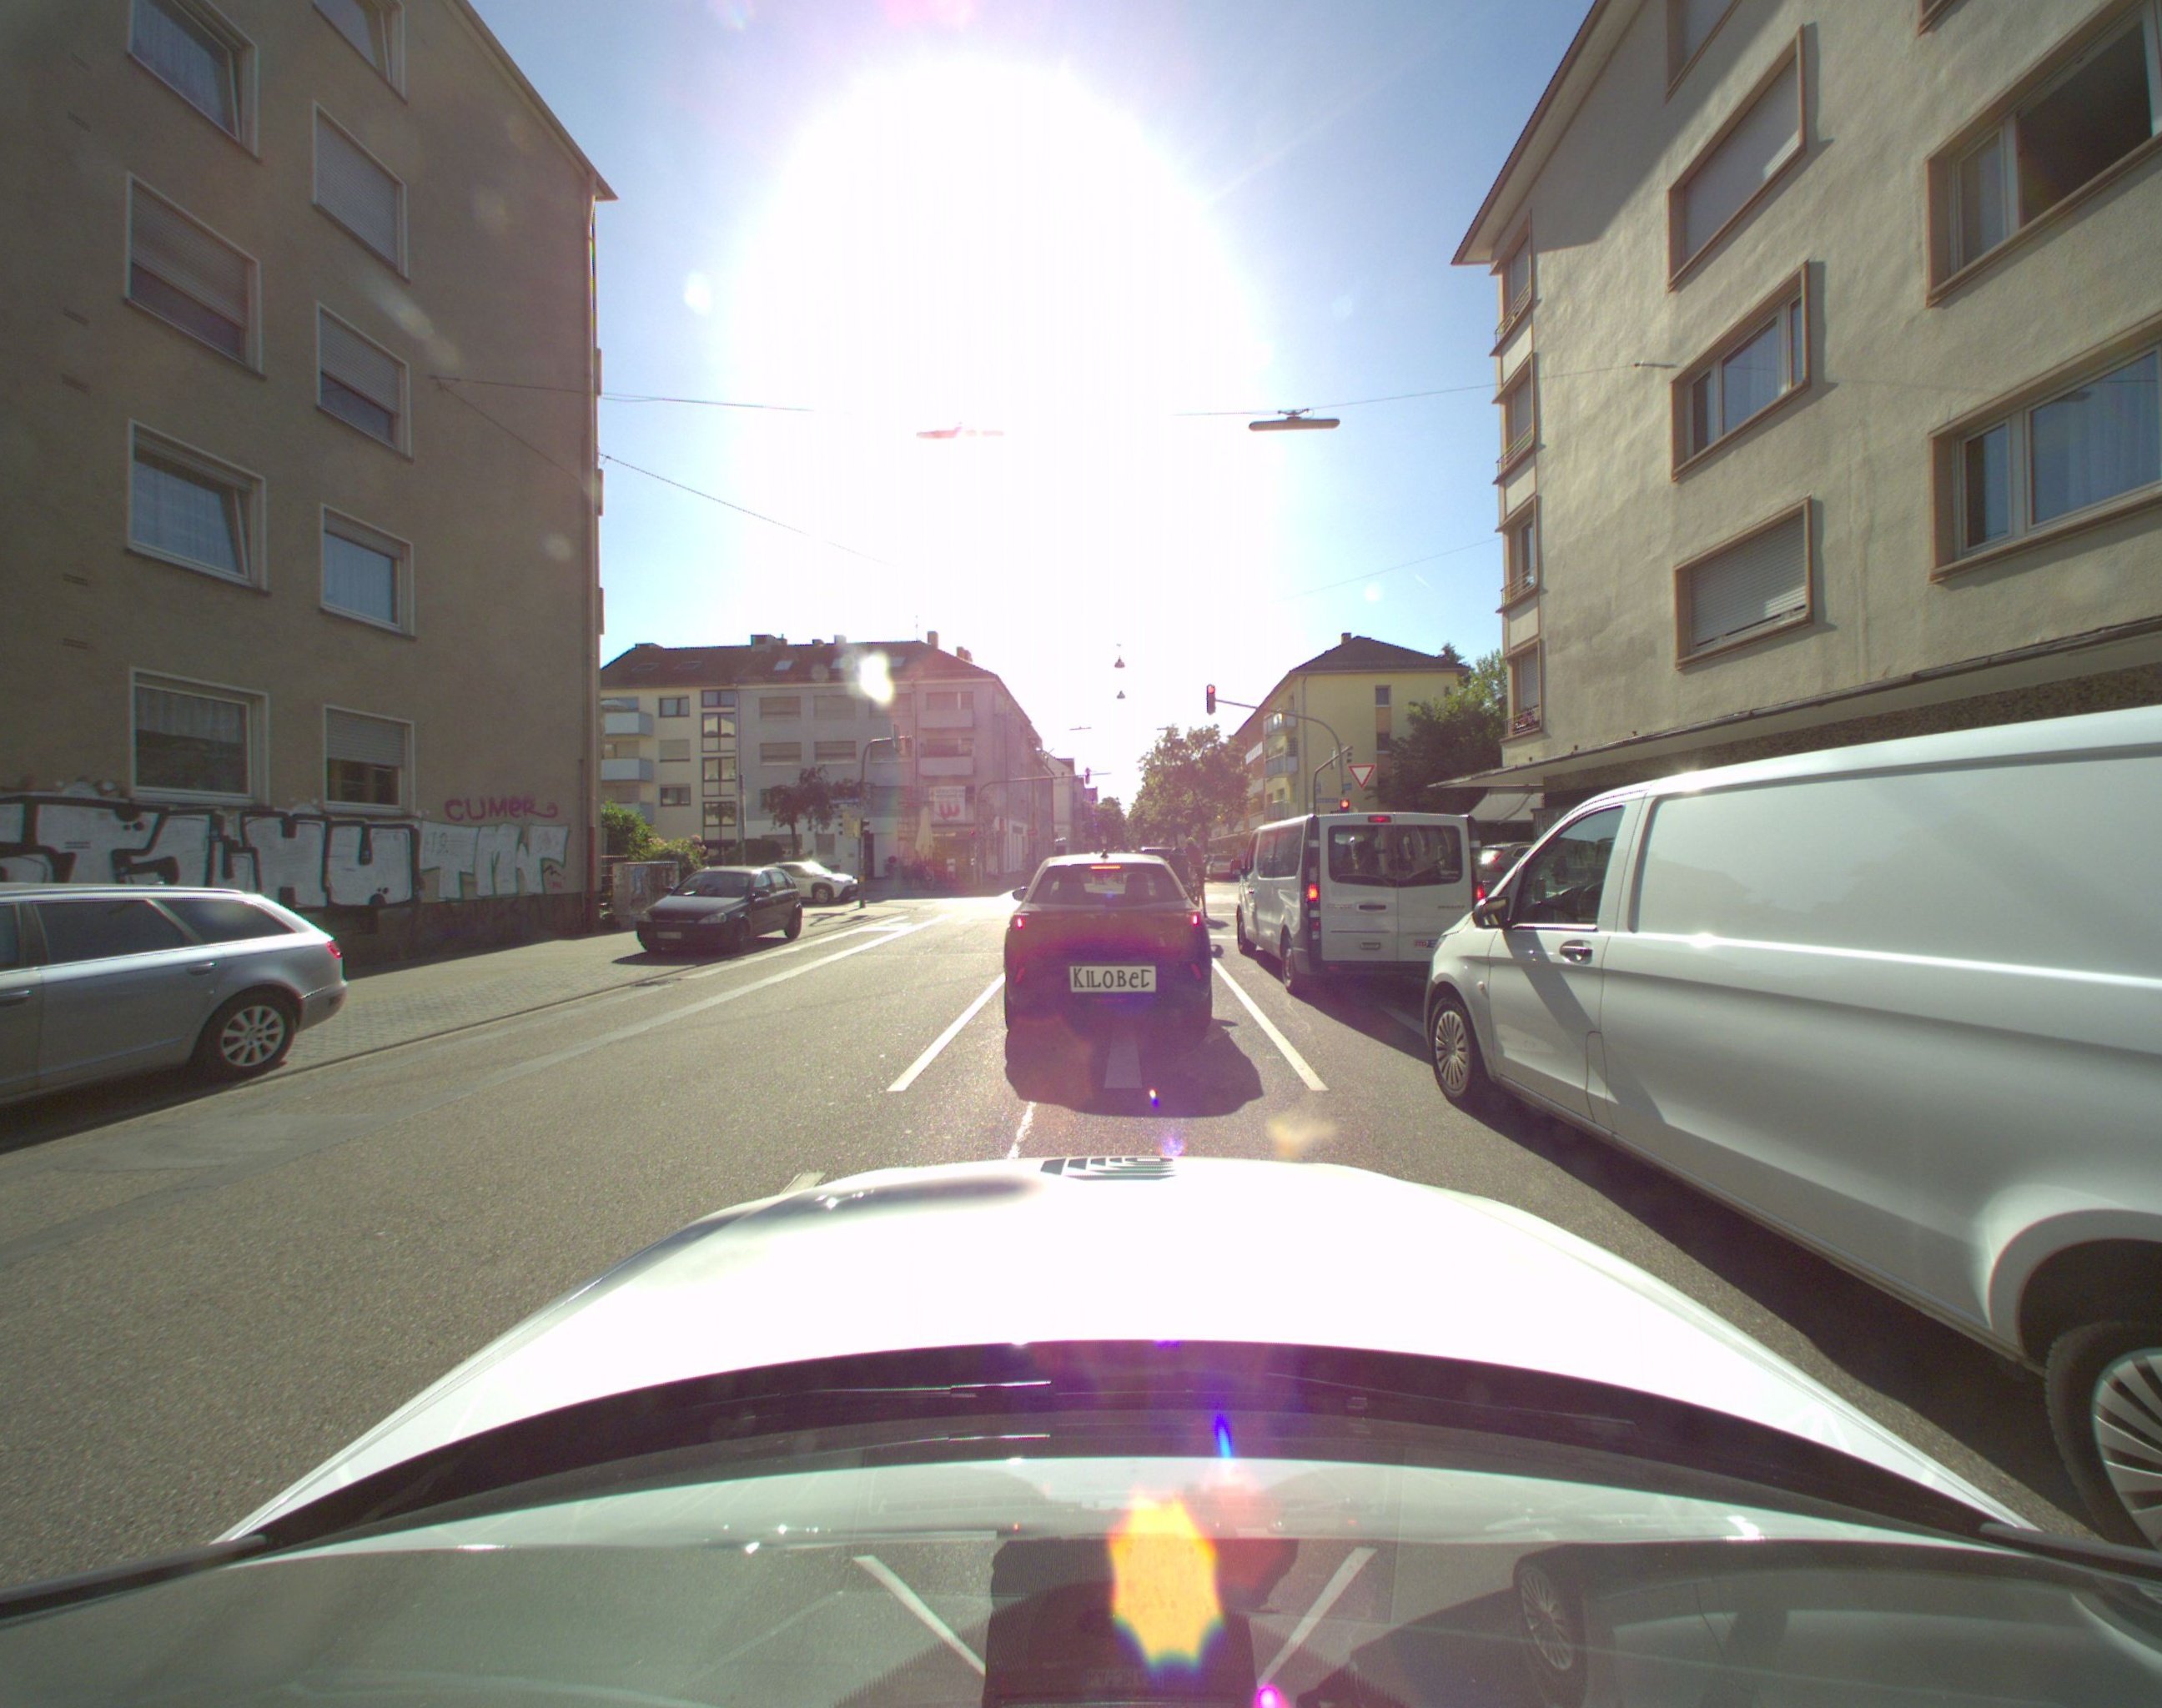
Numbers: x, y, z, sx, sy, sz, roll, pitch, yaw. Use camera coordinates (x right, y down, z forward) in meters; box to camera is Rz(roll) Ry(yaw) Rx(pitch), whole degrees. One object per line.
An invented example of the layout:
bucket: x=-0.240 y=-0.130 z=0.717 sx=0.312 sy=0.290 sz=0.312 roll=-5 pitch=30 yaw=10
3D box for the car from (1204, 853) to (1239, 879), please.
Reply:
car: x=8.388 y=0.679 z=48.901 sx=1.627 sy=1.433 sz=3.959 roll=-1 pitch=0 yaw=3

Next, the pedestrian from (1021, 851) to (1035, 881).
pedestrian: x=-3.000 y=0.687 z=45.982 sx=0.704 sy=1.678 sz=0.802 roll=-1 pitch=0 yaw=1

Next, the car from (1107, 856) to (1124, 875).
car: x=3.865 y=1.248 z=90.760 sx=1.842 sy=2.013 sz=4.003 roll=-1 pitch=0 yaw=2

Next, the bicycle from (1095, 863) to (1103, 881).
bicycle: x=1.024 y=0.998 z=45.737 sx=0.441 sy=0.992 sz=2.069 roll=-1 pitch=0 yaw=1

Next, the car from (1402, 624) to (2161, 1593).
car: x=3.041 y=0.480 z=3.056 sx=1.829 sy=1.869 sz=4.998 roll=-1 pitch=0 yaw=2

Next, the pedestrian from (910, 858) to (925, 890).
pedestrian: x=-8.018 y=0.988 z=39.933 sx=0.582 sy=1.521 sz=0.649 roll=-1 pitch=0 yaw=0

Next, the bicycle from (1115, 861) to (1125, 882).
bicycle: x=2.180 y=0.953 z=45.814 sx=0.520 sy=1.147 sz=2.170 roll=-1 pitch=0 yaw=1

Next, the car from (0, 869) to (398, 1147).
car: x=-6.920 y=0.894 z=4.698 sx=1.710 sy=1.465 sz=4.818 roll=1 pitch=0 yaw=2

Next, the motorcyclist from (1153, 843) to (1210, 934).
motorcyclist: x=1.732 y=0.572 z=14.172 sx=0.860 sy=1.502 sz=1.160 roll=-1 pitch=0 yaw=2

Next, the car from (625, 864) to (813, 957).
car: x=-6.407 y=0.927 z=14.894 sx=1.610 sy=1.425 sz=3.712 roll=1 pitch=0 yaw=2

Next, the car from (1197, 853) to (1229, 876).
car: x=8.707 y=0.644 z=53.780 sx=1.627 sy=1.433 sz=4.003 roll=-1 pitch=0 yaw=3

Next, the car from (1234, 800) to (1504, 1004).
car: x=3.268 y=0.470 z=10.418 sx=1.985 sy=1.979 sz=4.900 roll=-1 pitch=0 yaw=4

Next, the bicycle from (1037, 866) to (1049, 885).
bicycle: x=-2.131 y=1.211 z=46.151 sx=0.520 sy=0.992 sz=2.340 roll=-1 pitch=0 yaw=1

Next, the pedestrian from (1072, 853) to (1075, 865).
pedestrian: x=-1.104 y=0.699 z=116.207 sx=0.400 sy=1.675 sz=0.418 roll=-1 pitch=0 yaw=2

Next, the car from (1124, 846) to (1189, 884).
car: x=3.697 y=0.504 z=39.316 sx=1.885 sy=1.728 sz=4.096 roll=-1 pitch=0 yaw=24

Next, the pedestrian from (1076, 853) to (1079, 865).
pedestrian: x=-0.494 y=0.672 z=116.106 sx=0.400 sy=1.675 sz=0.418 roll=-1 pitch=0 yaw=2

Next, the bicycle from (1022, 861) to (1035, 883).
bicycle: x=-2.992 y=1.003 z=46.207 sx=0.520 sy=1.147 sz=2.284 roll=-1 pitch=0 yaw=1

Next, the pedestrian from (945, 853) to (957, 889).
pedestrian: x=-6.463 y=0.856 z=40.548 sx=0.560 sy=1.775 sz=0.583 roll=-1 pitch=0 yaw=-6

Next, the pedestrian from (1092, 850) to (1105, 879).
pedestrian: x=0.984 y=0.596 z=45.727 sx=0.677 sy=1.606 sz=0.762 roll=-1 pitch=0 yaw=1

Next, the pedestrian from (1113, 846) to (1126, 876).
pedestrian: x=2.176 y=0.397 z=45.863 sx=0.704 sy=1.701 sz=0.802 roll=-1 pitch=0 yaw=1

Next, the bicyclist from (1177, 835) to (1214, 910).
bicyclist: x=2.729 y=0.434 z=19.472 sx=0.687 sy=1.712 sz=1.414 roll=-1 pitch=0 yaw=1

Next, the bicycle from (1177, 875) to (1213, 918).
bicycle: x=2.735 y=1.001 z=19.671 sx=0.575 sy=0.904 sz=2.302 roll=-1 pitch=0 yaw=1

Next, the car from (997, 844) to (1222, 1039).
car: x=0.268 y=0.695 z=8.481 sx=1.764 sy=1.530 sz=4.001 roll=-1 pitch=0 yaw=1

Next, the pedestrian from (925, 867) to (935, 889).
pedestrian: x=-7.390 y=1.178 z=39.913 sx=0.354 sy=1.092 sz=0.462 roll=-1 pitch=0 yaw=0

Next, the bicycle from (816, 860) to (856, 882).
bicycle: x=-13.637 y=0.952 z=45.347 sx=2.102 sy=1.172 sz=0.735 roll=-1 pitch=0 yaw=-21

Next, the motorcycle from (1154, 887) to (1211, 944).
motorcycle: x=1.733 y=1.038 z=14.189 sx=0.822 sy=0.845 sz=1.886 roll=-1 pitch=0 yaw=2

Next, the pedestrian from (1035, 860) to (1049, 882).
pedestrian: x=-2.198 y=0.959 z=45.901 sx=0.704 sy=1.253 sz=0.802 roll=-1 pitch=0 yaw=1

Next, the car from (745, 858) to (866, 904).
car: x=-10.054 y=0.965 z=29.852 sx=3.751 sy=1.536 sz=1.776 roll=-1 pitch=1 yaw=9
